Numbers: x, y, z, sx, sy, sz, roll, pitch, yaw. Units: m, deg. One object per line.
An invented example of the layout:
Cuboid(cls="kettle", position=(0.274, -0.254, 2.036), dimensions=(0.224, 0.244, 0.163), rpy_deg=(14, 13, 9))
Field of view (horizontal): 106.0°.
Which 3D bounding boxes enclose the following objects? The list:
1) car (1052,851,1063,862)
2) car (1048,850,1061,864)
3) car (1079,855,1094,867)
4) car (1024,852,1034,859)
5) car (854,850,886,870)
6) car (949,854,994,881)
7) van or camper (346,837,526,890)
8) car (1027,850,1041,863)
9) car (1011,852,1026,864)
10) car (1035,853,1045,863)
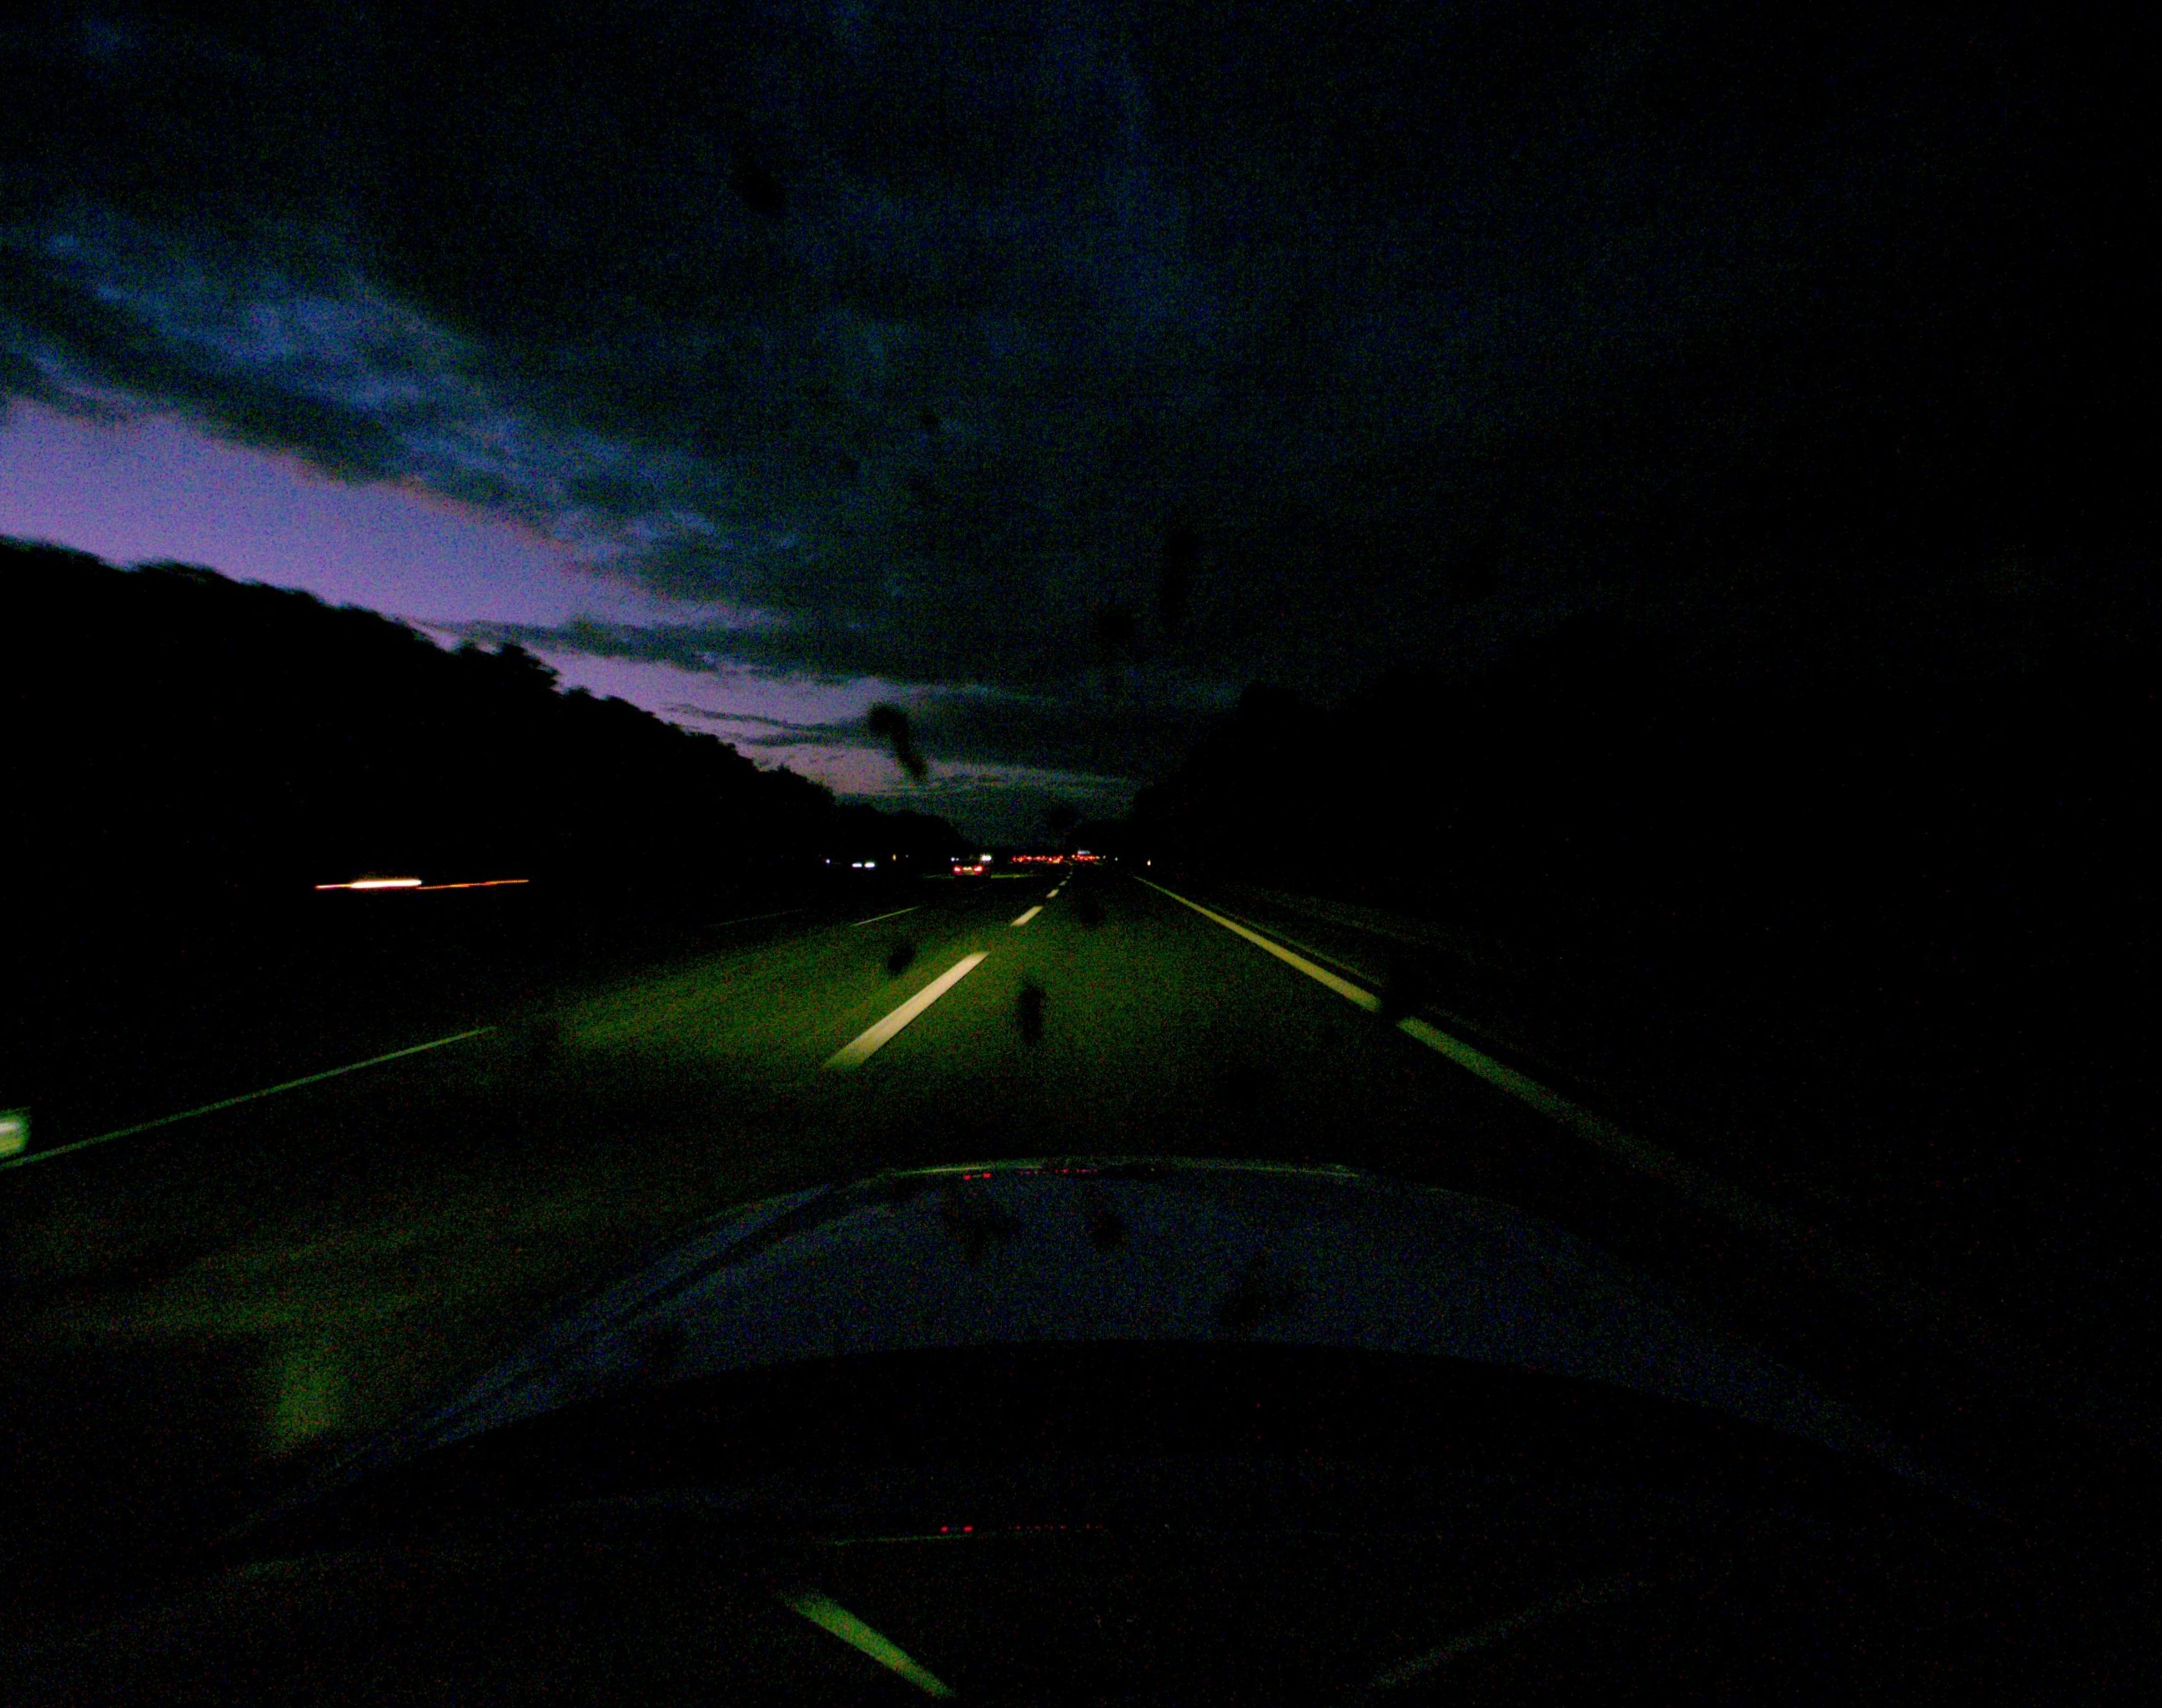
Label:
Cuboid(cls="car", position=(-4.422, 0.401, 154.070), dimensions=(1.987, 2.013, 3.999), rpy_deg=(-1, 0, 0))
Cuboid(cls="car", position=(-4.070, 0.444, 124.842), dimensions=(1.988, 2.014, 3.998), rpy_deg=(0, 0, -1))
Cuboid(cls="car", position=(0.778, 0.934, 110.969), dimensions=(1.987, 1.659, 4.313), rpy_deg=(-1, 0, -1))
Cuboid(cls="car", position=(-14.149, 0.406, 221.721), dimensions=(1.986, 2.013, 4.001), rpy_deg=(3, 0, 1))
Cuboid(cls="car", position=(-21.705, 0.616, 84.075), dimensions=(1.986, 2.014, 4.497), rpy_deg=(-1, -1, 2))
Cuboid(cls="car", position=(-6.897, 0.832, 51.710), dimensions=(1.985, 1.642, 4.557), rpy_deg=(-1, 0, 3))
Cuboid(cls="van or camper", position=(-26.701, 0.386, 34.167), dimensions=(2.369, 2.014, 6.491), rpy_deg=(-1, 0, 0))
Cuboid(cls="car", position=(-7.610, 0.452, 132.031), dimensions=(2.064, 2.013, 4.000), rpy_deg=(-1, 0, 0))
Cuboid(cls="car", position=(-11.039, 0.695, 143.492), dimensions=(2.096, 2.013, 4.003), rpy_deg=(-2, 0, 3))
Cuboid(cls="car", position=(-8.738, 0.910, 173.427), dimensions=(1.990, 2.014, 3.994), rpy_deg=(0, -1, -4))
